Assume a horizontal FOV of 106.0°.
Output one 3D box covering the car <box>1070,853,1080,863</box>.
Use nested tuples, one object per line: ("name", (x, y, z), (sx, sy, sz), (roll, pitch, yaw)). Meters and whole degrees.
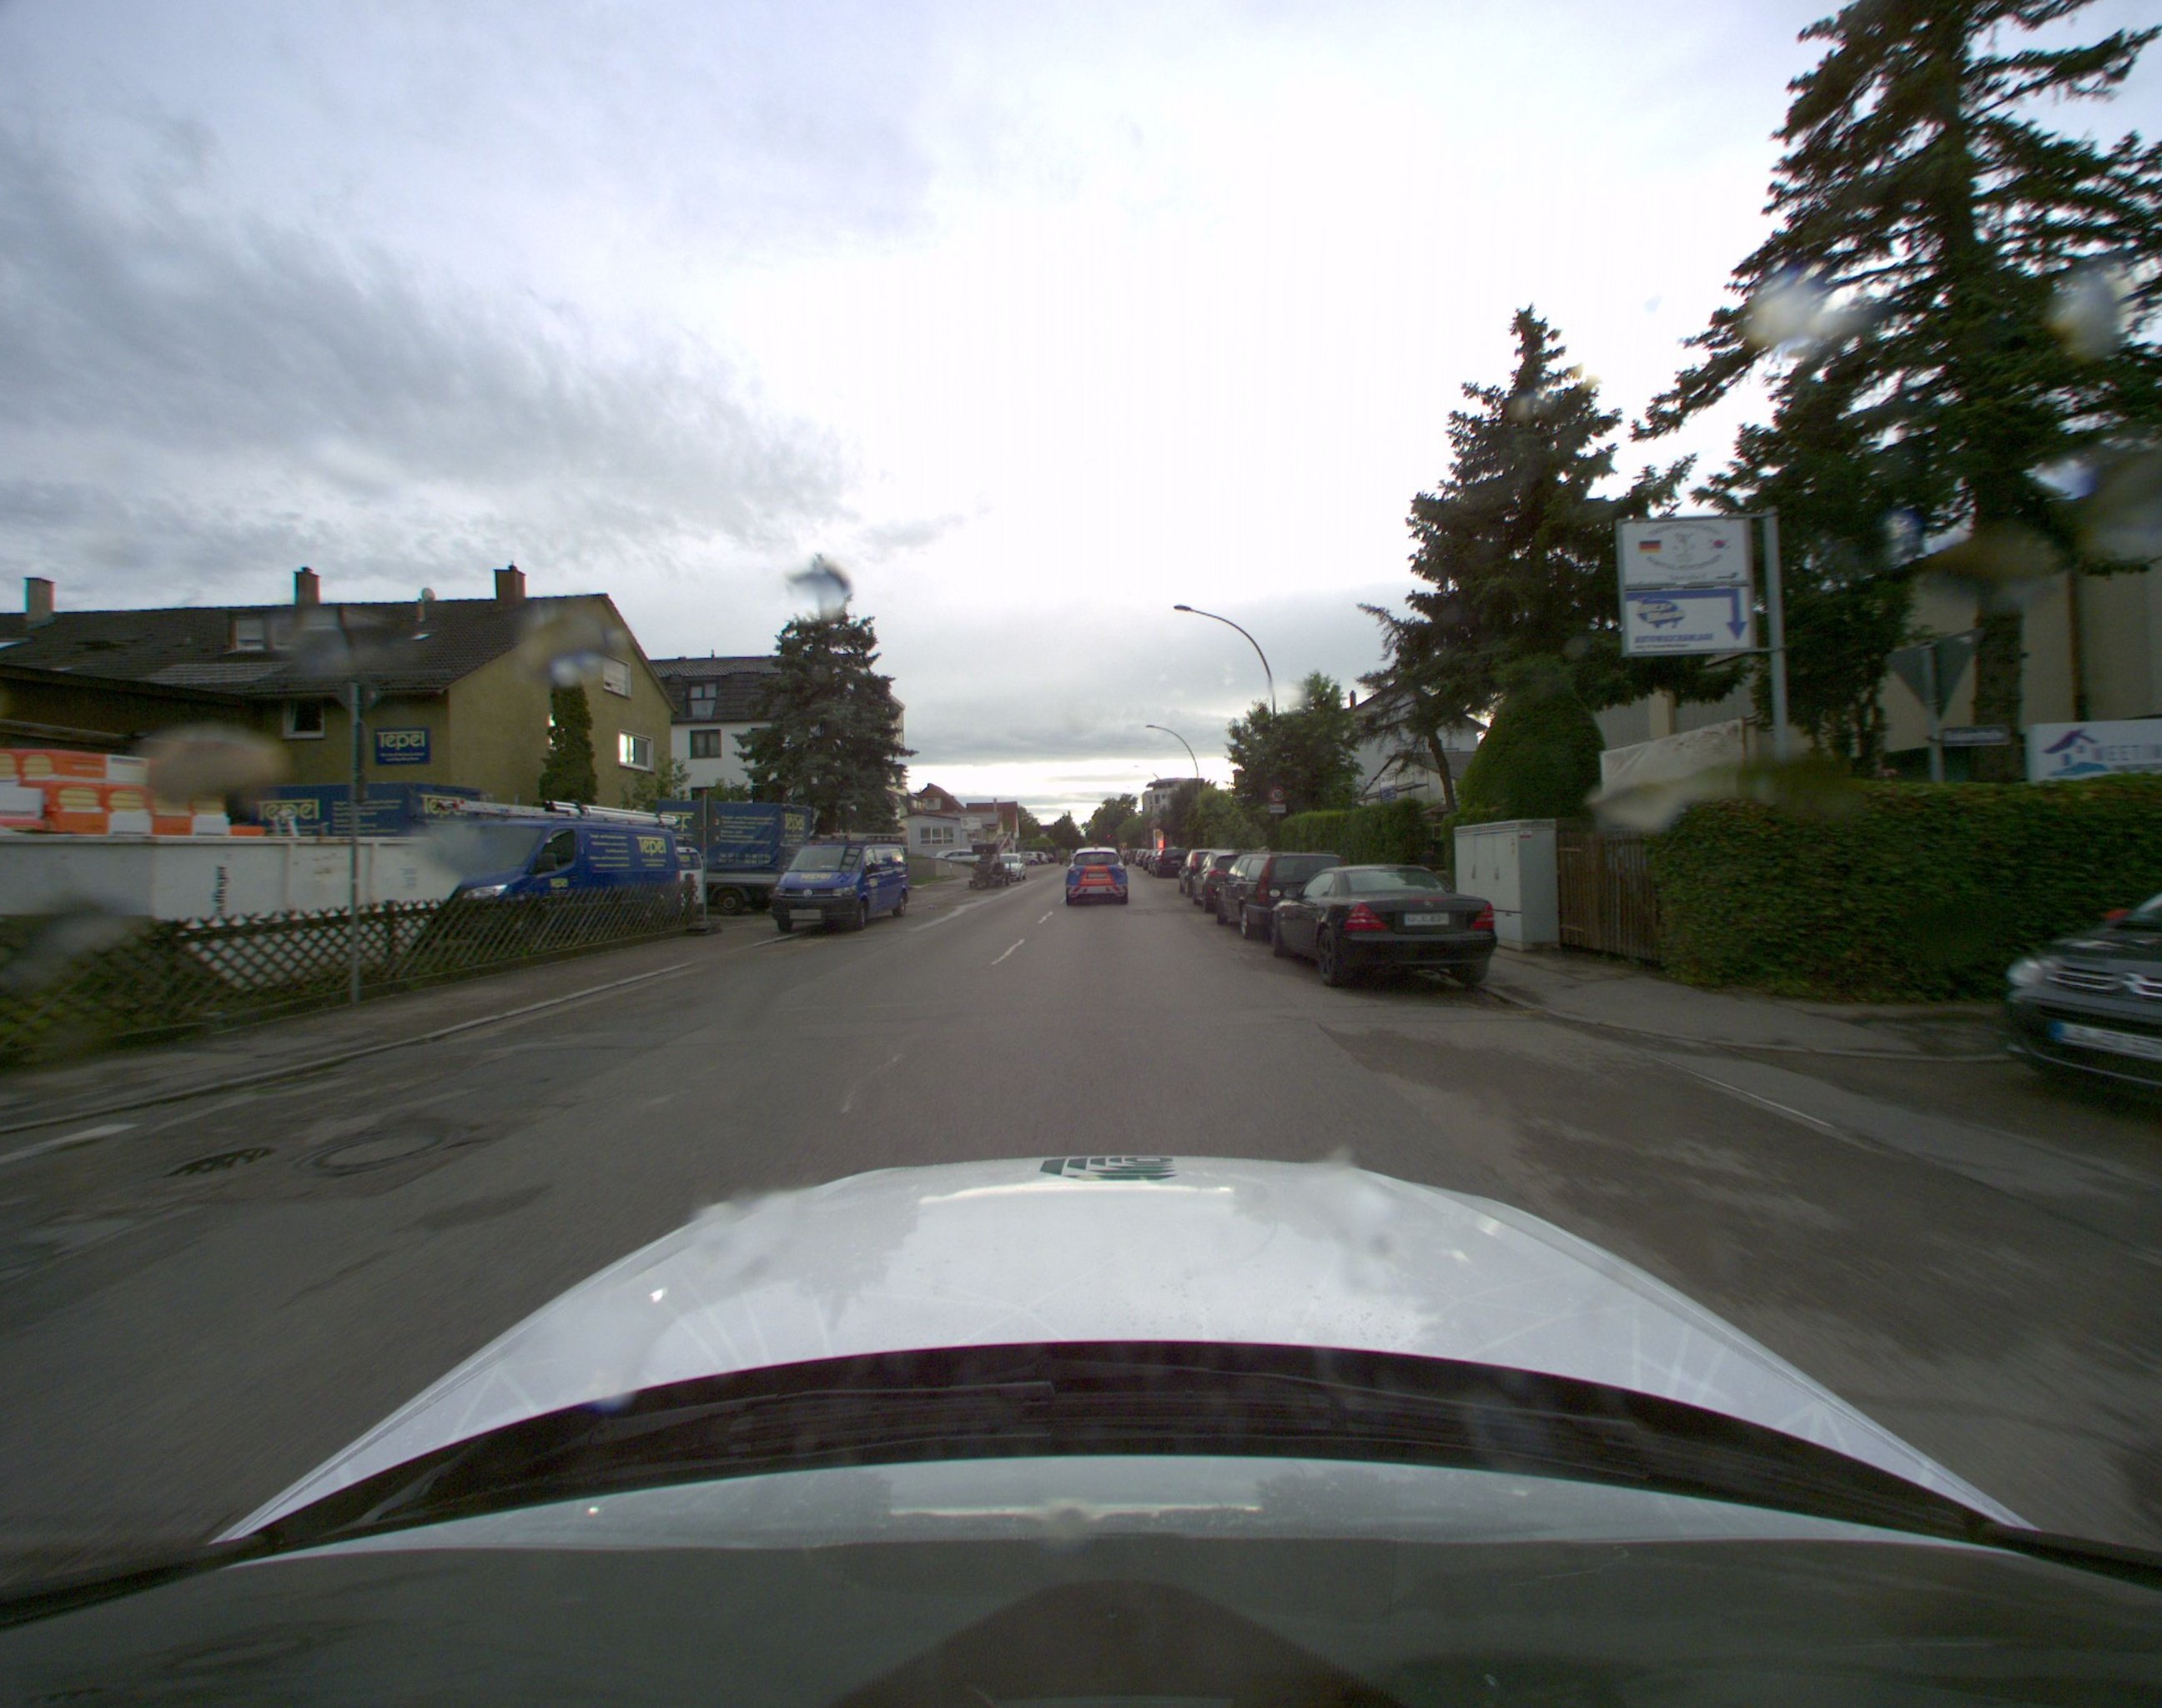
("car", (-0.956, 0.593, 123.294), (1.381, 1.483, 3.784), (-2, 0, 0))

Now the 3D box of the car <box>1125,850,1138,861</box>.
("car", (7.637, 0.226, 123.179), (1.644, 1.483, 4.000), (0, 0, 0))

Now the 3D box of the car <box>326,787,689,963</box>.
("car", (-9.932, 0.314, 15.064), (2.067, 2.567, 6.206), (-1, 0, 3))

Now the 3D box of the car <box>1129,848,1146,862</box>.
("car", (6.247, 0.134, 90.594), (1.644, 1.521, 4.000), (0, 0, 0))

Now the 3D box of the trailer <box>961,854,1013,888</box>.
("trailer", (-4.226, 0.734, 37.309), (1.711, 1.260, 5.245), (0, 2, 0))

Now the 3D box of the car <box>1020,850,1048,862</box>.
("car", (-6.114, 0.249, 106.435), (3.644, 1.483, 1.478), (-3, 0, -3))

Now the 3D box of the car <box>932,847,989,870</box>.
("car", (-8.592, 0.315, 58.290), (3.747, 1.568, 1.655), (-1, 0, 0))

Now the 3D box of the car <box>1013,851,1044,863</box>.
("car", (-6.591, 0.423, 102.526), (3.750, 1.483, 1.654), (0, 0, -3))

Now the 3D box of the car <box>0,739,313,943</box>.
("car", (-16.937, -0.179, 14.134), (2.067, 3.013, 5.247), (-1, 0, 3))

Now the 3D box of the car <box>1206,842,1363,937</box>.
("car", (3.463, 0.545, 14.780), (1.651, 1.419, 4.776), (0, 0, 0))

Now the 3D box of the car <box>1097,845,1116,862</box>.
("car", (2.289, -0.020, 73.836), (1.644, 1.521, 4.000), (0, 0, 0))

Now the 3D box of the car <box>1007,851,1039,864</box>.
("car", (-6.991, 0.451, 98.170), (3.750, 1.576, 1.654), (0, 0, -3))

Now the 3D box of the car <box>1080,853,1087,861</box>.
("car", (0.376, 0.478, 141.560), (1.147, 1.232, 3.372), (-2, 0, 0))

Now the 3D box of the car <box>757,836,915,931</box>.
("car", (-5.623, 0.587, 19.547), (1.986, 1.947, 5.367), (-1, 1, 2))

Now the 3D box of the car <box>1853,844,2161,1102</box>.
("car", (7.285, 0.567, 4.623), (3.973, 1.266, 1.951), (-1, 0, 0))

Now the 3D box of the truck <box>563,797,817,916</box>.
("truck", (-10.762, 0.075, 22.757), (5.888, 3.073, 2.451), (-1, 0, 2))

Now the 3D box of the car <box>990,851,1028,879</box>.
("car", (-3.917, 0.571, 44.678), (1.551, 1.433, 4.002), (-1, 0, 2))

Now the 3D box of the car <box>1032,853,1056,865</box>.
("car", (-5.216, 0.682, 114.409), (3.273, 1.448, 1.478), (-3, 0, -3))

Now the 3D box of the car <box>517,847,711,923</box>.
("car", (-11.304, 0.730, 19.869), (3.693, 1.750, 1.780), (-1, 0, 3))

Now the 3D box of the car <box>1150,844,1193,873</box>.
("car", (4.633, 0.228, 42.045), (1.706, 1.438, 4.525), (0, 0, 0))

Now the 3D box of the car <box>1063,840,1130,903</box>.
("car", (0.457, 0.464, 23.486), (1.725, 1.630, 3.495), (-2, 0, 1))

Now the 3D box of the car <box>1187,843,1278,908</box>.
("car", (3.658, 0.468, 20.261), (1.651, 1.449, 3.831), (0, 1, 1))

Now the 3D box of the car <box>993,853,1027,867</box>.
("car", (-7.630, 0.654, 87.592), (3.571, 1.526, 1.654), (0, 0, -3))

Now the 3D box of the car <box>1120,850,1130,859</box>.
("car", (7.745, 0.084, 144.308), (1.644, 1.483, 4.000), (0, 0, 0))

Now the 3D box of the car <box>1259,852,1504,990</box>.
("car", (3.441, 0.663, 10.171), (1.584, 1.341, 4.093), (1, 0, 1))

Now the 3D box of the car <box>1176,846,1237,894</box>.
("car", (3.940, 0.464, 26.098), (1.481, 1.438, 3.809), (0, 0, 2))

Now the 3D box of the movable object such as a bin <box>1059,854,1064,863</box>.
("movable object such as a bin", (-2.620, 0.651, 108.367), (0.577, 1.204, 0.319), (-1, 0, 2))
